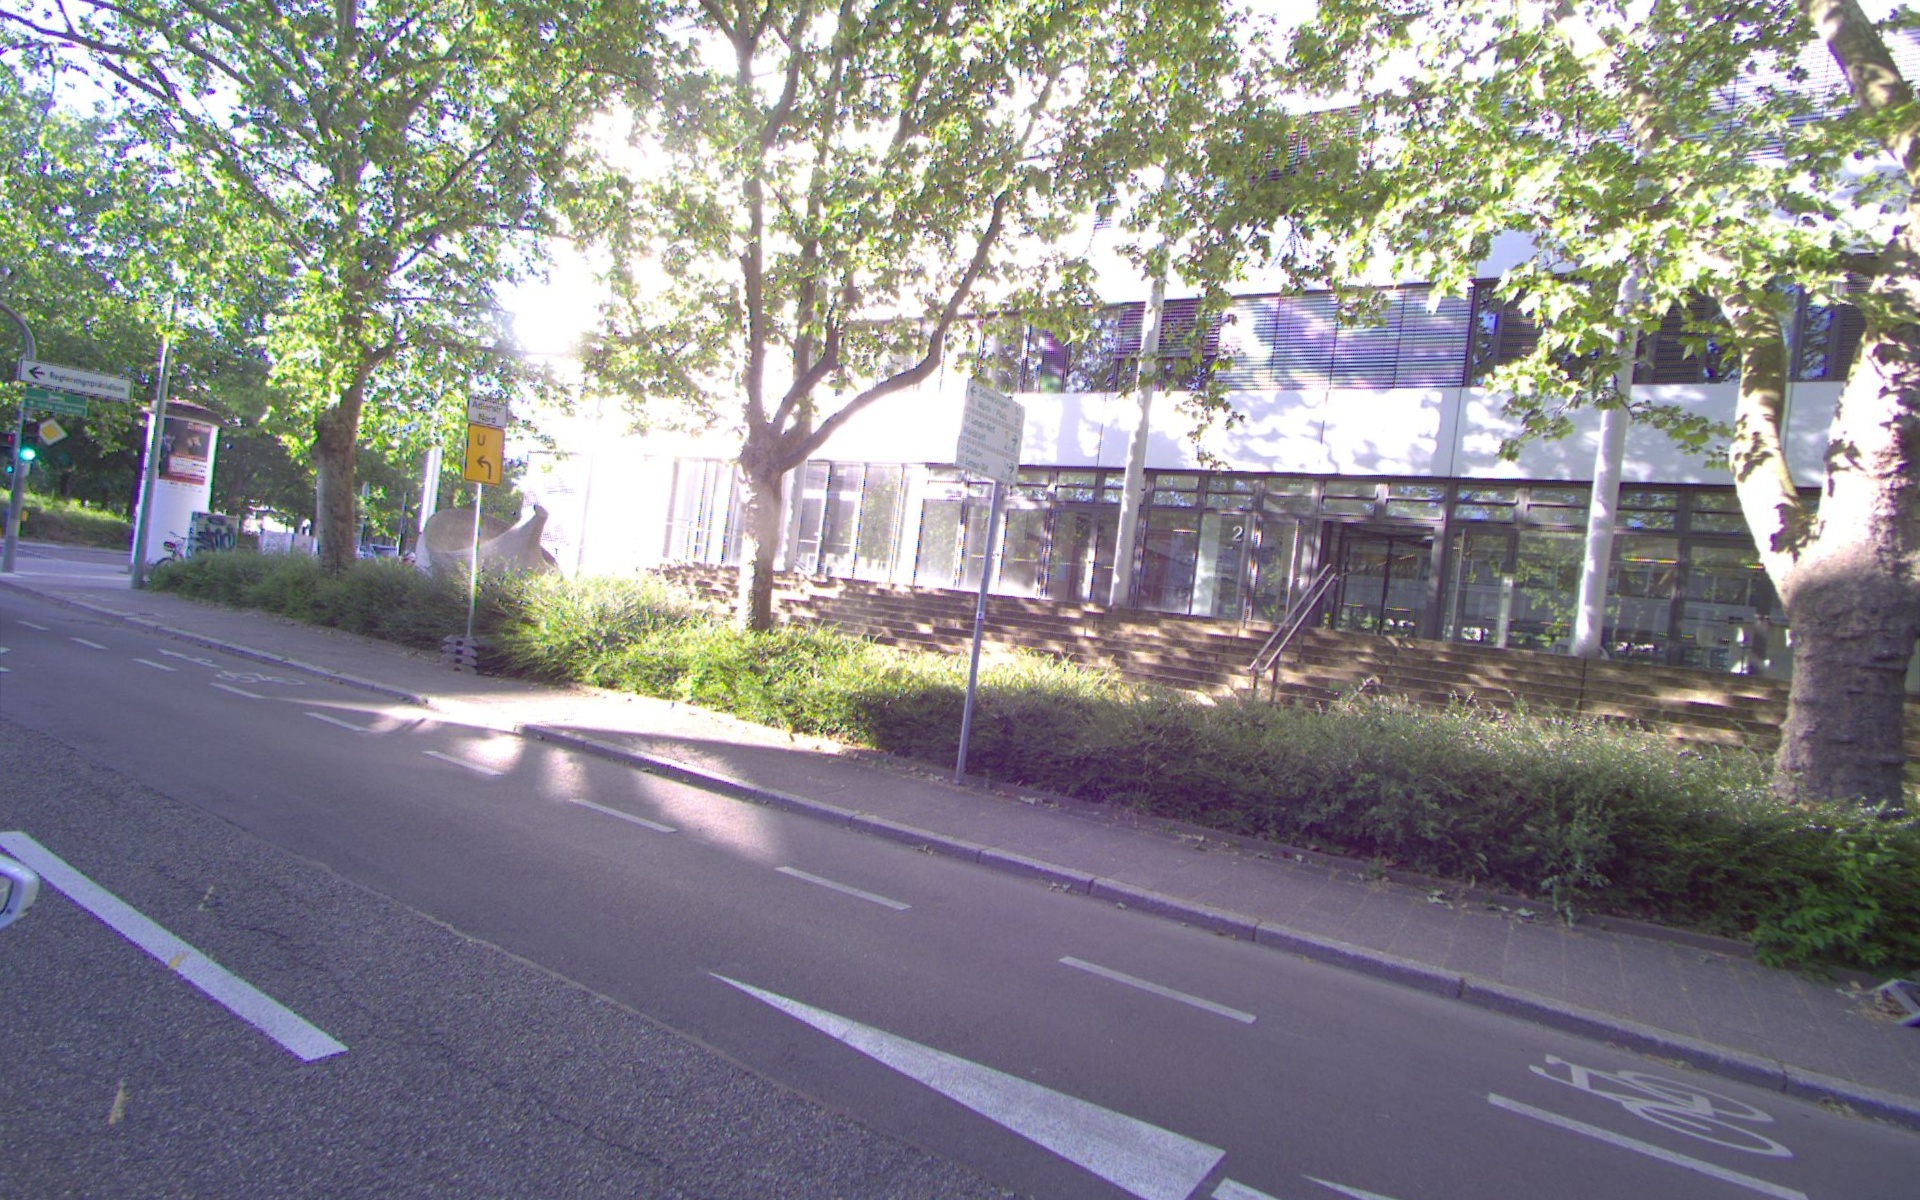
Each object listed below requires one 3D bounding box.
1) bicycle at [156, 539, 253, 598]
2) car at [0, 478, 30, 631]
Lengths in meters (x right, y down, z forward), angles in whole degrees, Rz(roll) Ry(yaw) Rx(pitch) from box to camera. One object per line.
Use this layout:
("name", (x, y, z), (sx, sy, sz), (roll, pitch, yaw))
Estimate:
("bicycle", (-15.922, -0.638, 21.259), (0.631, 1.040, 1.887), (7, -2, -5))
("car", (-13.547, -0.820, 12.370), (4.407, 1.784, 1.865), (7, -1, 32))
